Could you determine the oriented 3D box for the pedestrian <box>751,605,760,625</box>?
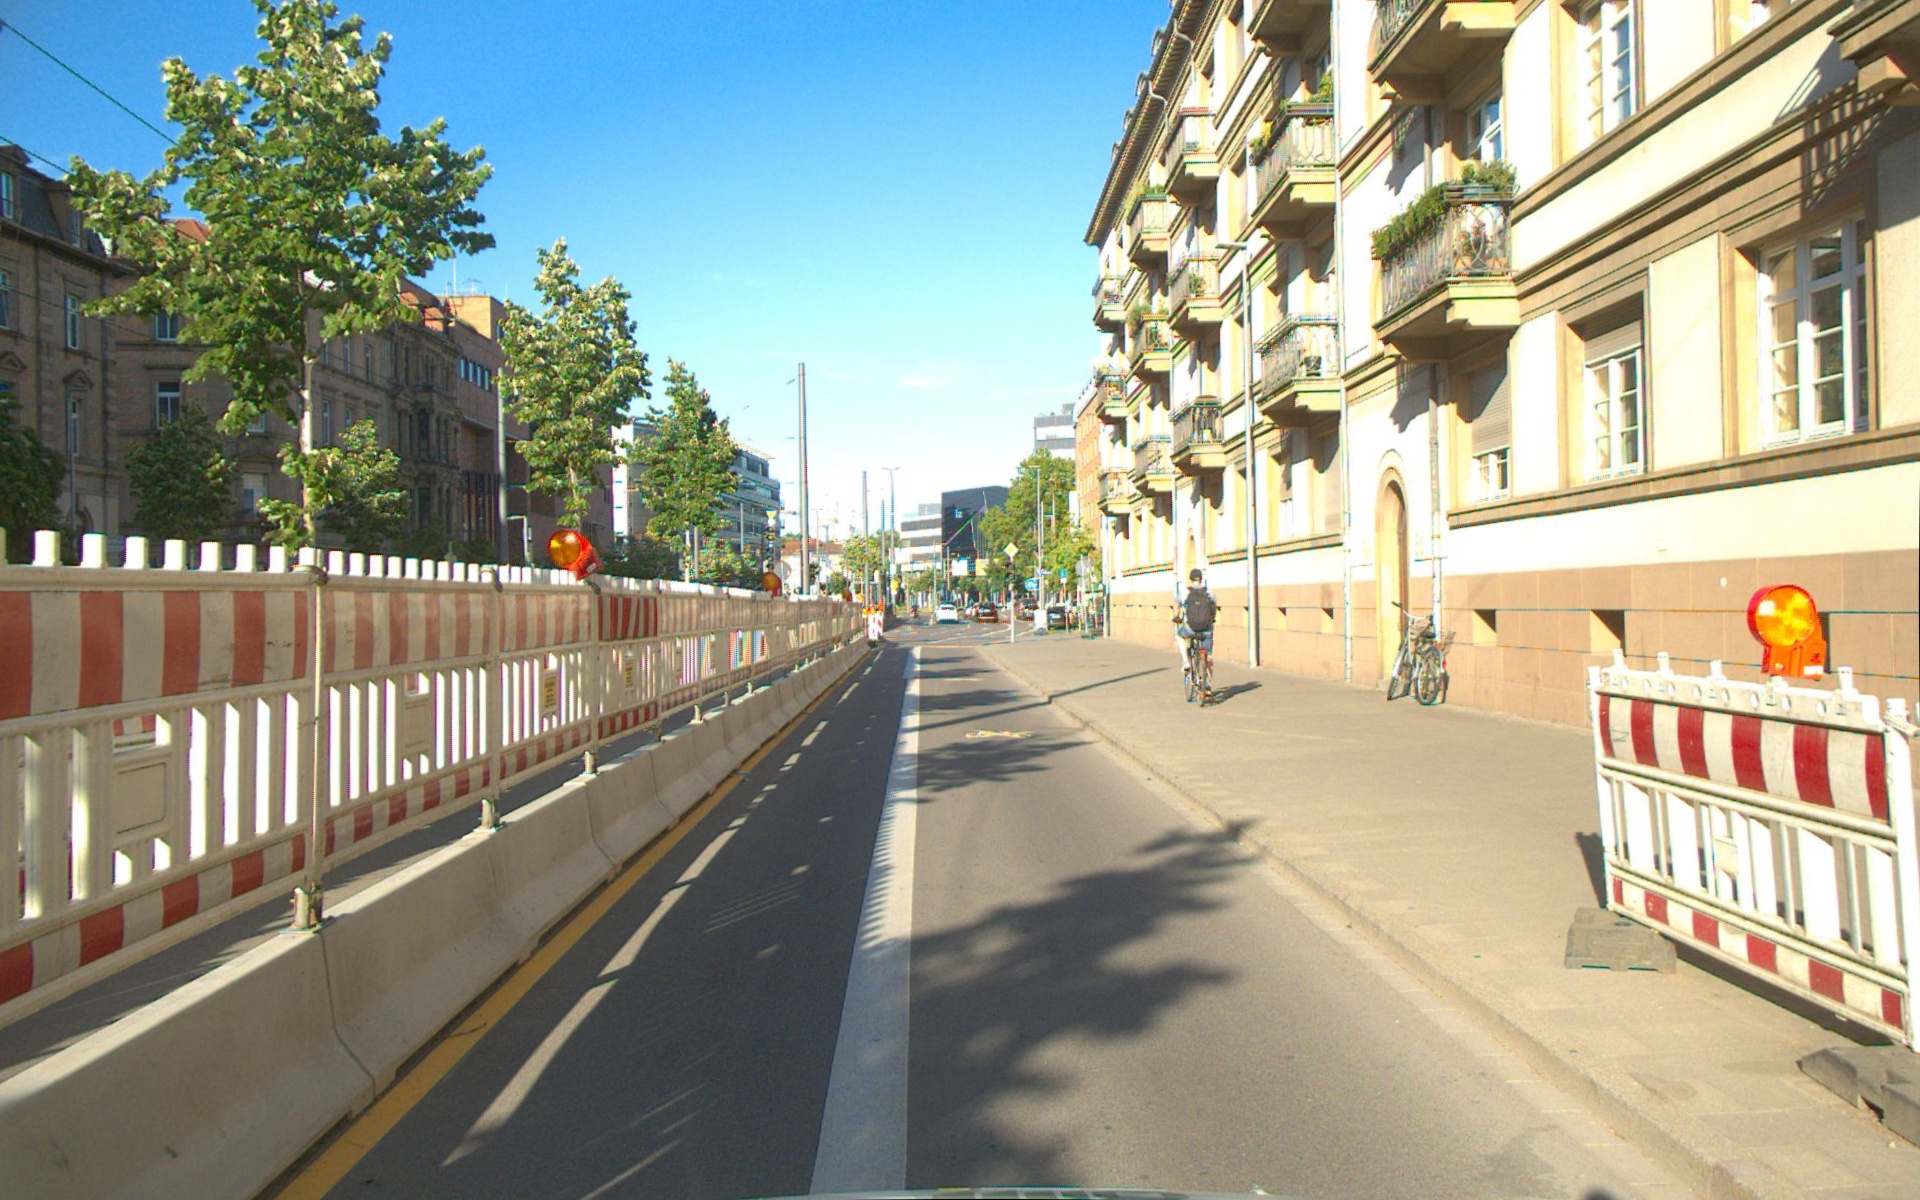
[{"bbox_3d":[-17.301,1.279,139.905,0.627,1.725,0.541,1,-1,-1],"label":"pedestrian"}]

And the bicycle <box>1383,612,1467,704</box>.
[{"bbox_3d":[5.959,0.715,21.280,0.409,1.114,2.197,-1,-1,-1],"label":"bicycle"}]

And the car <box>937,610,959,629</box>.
[{"bbox_3d":[-1.006,1.575,133.922,1.744,1.439,4.817,1,0,-1],"label":"car"}]

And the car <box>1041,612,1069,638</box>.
[{"bbox_3d":[6.391,1.672,110.652,1.684,1.665,4.233,-2,-1,5],"label":"car"}]

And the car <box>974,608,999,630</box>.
[{"bbox_3d":[2.223,1.609,139.576,1.935,1.790,4.631,1,0,-1],"label":"car"}]

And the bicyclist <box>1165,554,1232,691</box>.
[{"bbox_3d":[3.197,0.298,22.243,0.718,1.794,0.937,-1,-1,-2],"label":"bicyclist"}]

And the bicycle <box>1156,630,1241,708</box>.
[{"bbox_3d":[3.199,0.905,22.389,0.752,0.969,2.197,-1,-1,-2],"label":"bicycle"}]

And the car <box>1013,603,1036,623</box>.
[{"bbox_3d":[5.905,1.202,151.744,1.809,1.587,4.633,1,2,-1],"label":"car"}]

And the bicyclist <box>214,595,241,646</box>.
[{"bbox_3d":[-26.580,0.741,60.007,0.872,1.805,0.848,0,-1,-27],"label":"bicyclist"}]

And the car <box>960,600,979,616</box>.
[{"bbox_3d":[0.938,0.817,164.304,1.813,1.524,4.378,-2,0,-1],"label":"car"}]

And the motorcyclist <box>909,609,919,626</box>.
[{"bbox_3d":[-4.442,1.655,159.659,0.998,1.631,1.148,1,-1,-1],"label":"motorcyclist"}]

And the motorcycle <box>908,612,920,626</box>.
[{"bbox_3d":[-4.439,1.832,159.568,0.998,1.335,2.914,1,0,0],"label":"motorcycle"}]
